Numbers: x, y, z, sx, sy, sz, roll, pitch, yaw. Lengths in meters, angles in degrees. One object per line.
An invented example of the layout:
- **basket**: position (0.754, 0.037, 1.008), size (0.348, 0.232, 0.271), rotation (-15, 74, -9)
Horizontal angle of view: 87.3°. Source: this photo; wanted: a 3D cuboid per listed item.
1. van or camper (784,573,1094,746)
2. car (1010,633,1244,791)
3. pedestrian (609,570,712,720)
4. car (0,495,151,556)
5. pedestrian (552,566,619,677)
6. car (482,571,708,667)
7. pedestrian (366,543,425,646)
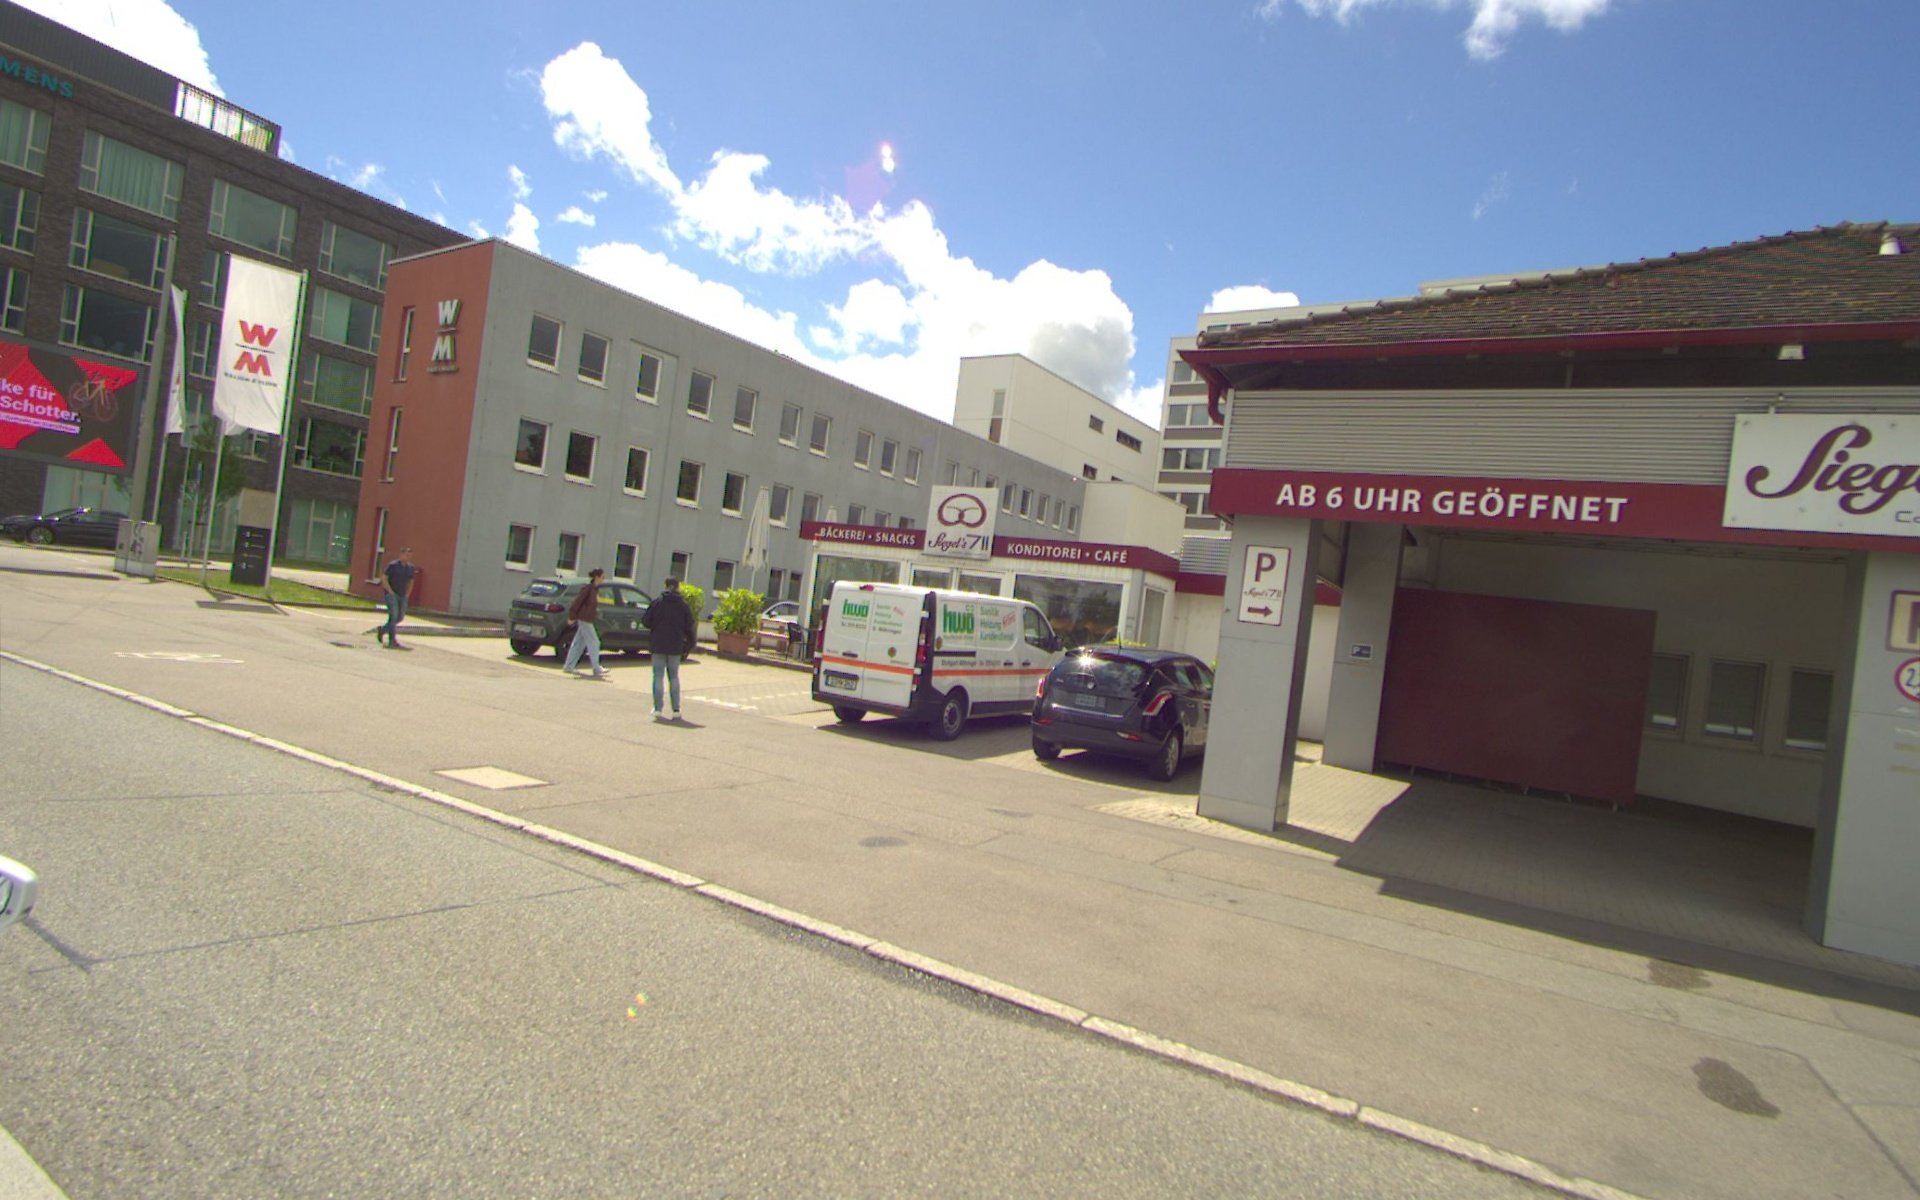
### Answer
- **van or camper**: position (-0.087, 0.827, 14.998), size (2.176, 1.982, 4.900), rotation (6, 0, 32)
- **car**: position (2.260, 1.287, 12.891), size (1.804, 1.506, 3.453), rotation (6, 2, 29)
- **pedestrian**: position (-3.673, 0.557, 12.347), size (0.727, 1.727, 0.713), rotation (7, -1, 32)
- **car**: position (-34.853, -2.908, 39.229), size (1.966, 1.638, 4.649), rotation (7, -1, 30)
- **pedestrian**: position (-6.213, 0.348, 16.675), size (0.743, 1.727, 0.566), rotation (8, -1, -32)
- **car**: position (-6.813, 0.355, 19.076), size (1.733, 1.506, 3.665), rotation (6, 2, 33)
- **pedestrian**: position (-10.031, -0.097, 17.862), size (0.707, 1.727, 0.625), rotation (8, -1, -32)
